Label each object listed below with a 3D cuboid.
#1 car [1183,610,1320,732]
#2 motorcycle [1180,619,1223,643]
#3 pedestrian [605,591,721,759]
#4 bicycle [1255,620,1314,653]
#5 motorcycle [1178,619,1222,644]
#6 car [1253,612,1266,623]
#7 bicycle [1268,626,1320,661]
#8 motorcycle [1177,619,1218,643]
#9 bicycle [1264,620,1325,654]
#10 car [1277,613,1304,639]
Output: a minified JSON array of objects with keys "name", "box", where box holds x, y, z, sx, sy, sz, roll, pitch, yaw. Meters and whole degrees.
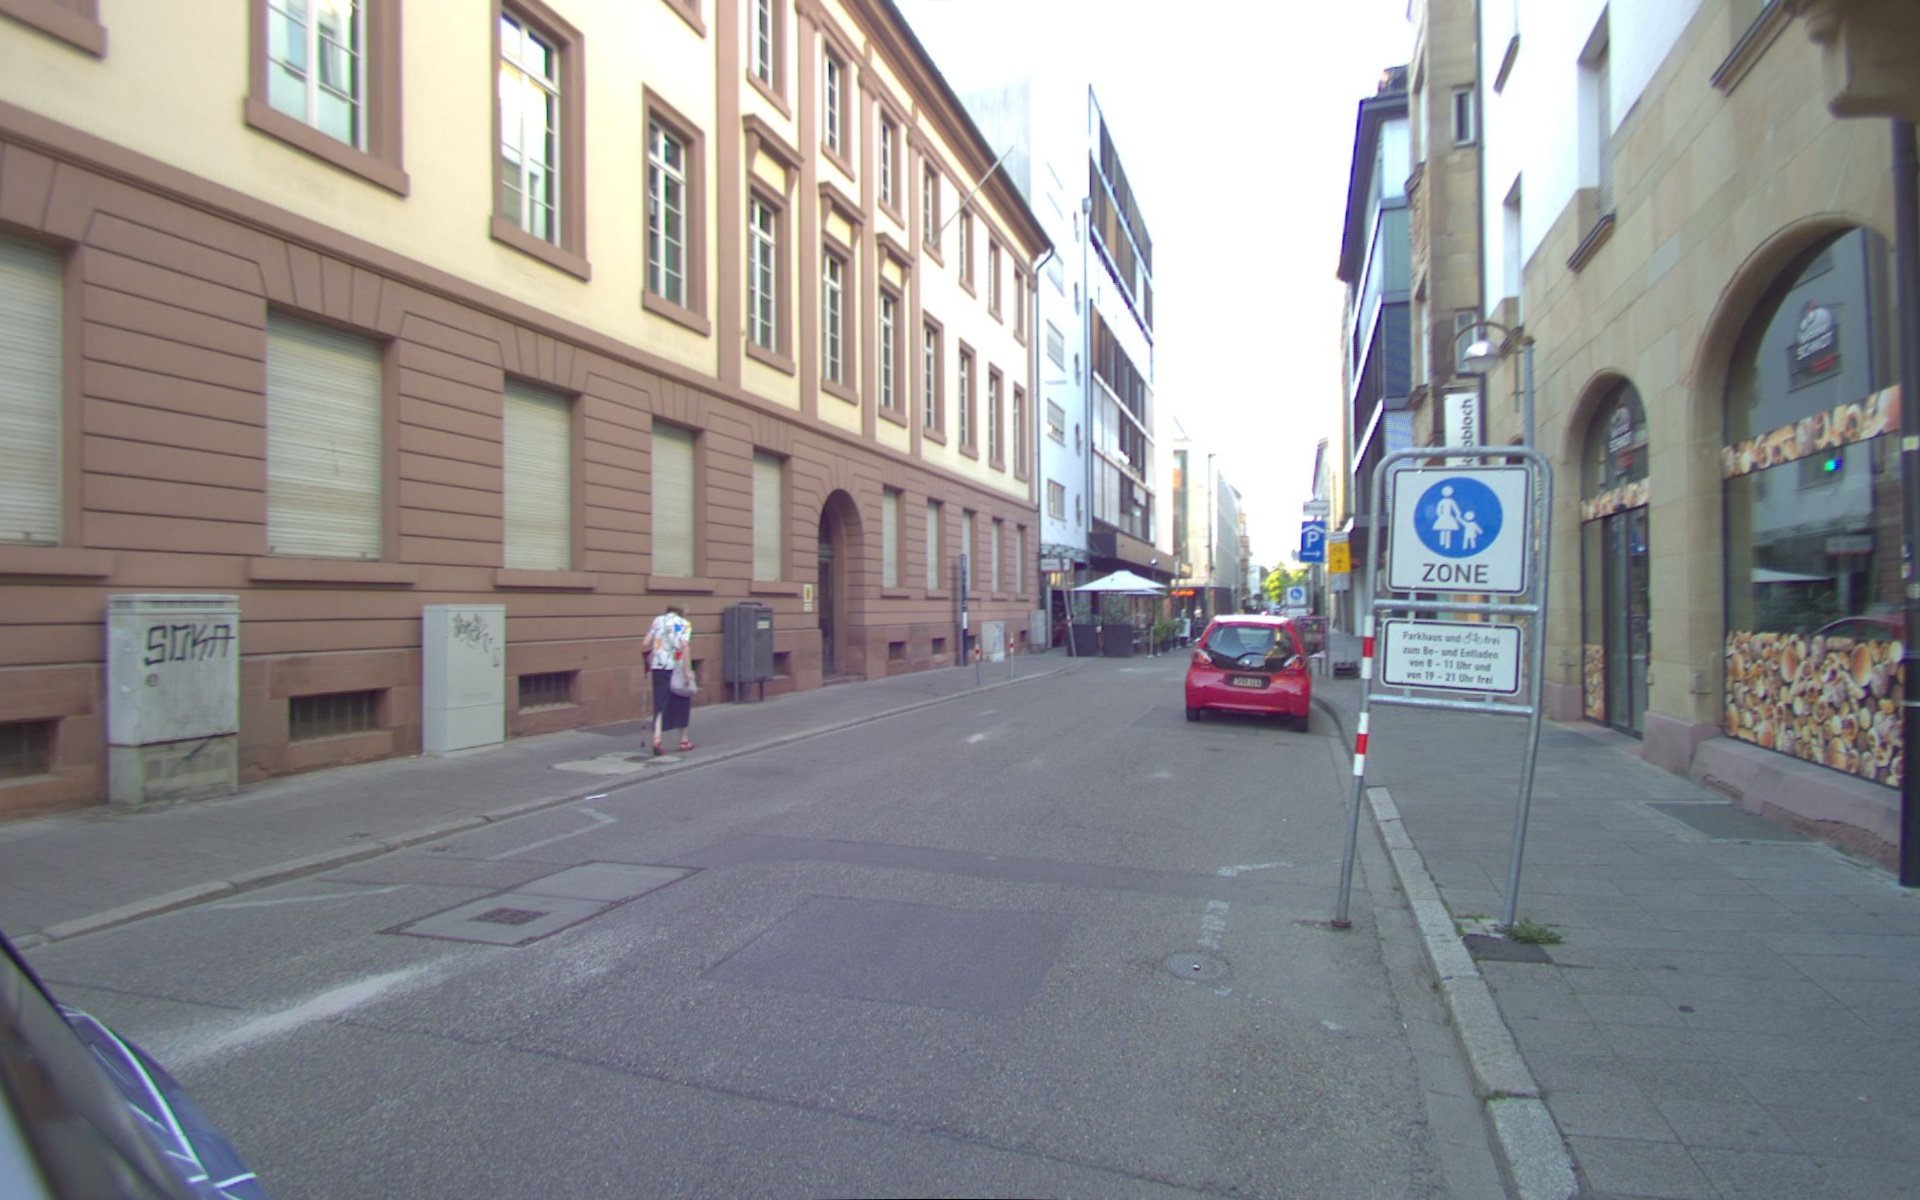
[{"name":"car","box":[4.192,0.905,14.347,1.626,1.452,3.136,2,0,19]},{"name":"motorcycle","box":[13.020,1.665,54.509,2.179,1.292,0.647,0,-1,21]},{"name":"pedestrian","box":[-3.123,0.764,10.716,0.805,1.684,0.925,0,-1,17]},{"name":"bicycle","box":[11.503,1.297,35.925,1.939,1.139,0.616,-2,-2,20]},{"name":"motorcycle","box":[12.713,1.651,53.603,2.179,1.292,0.647,0,-1,21]},{"name":"car","box":[36.360,2.115,122.703,1.415,1.310,3.542,-2,-2,18]},{"name":"bicycle","box":[11.079,1.433,33.561,1.596,1.127,0.616,-2,-2,20]},{"name":"motorcycle","box":[13.186,1.701,56.267,2.179,1.292,0.647,0,-1,21]},{"name":"bicycle","box":[11.516,1.274,34.859,1.939,1.139,0.616,-2,-2,20]},{"name":"car","box":[19.689,1.545,60.354,1.415,1.428,3.871,-2,-2,18]}]
